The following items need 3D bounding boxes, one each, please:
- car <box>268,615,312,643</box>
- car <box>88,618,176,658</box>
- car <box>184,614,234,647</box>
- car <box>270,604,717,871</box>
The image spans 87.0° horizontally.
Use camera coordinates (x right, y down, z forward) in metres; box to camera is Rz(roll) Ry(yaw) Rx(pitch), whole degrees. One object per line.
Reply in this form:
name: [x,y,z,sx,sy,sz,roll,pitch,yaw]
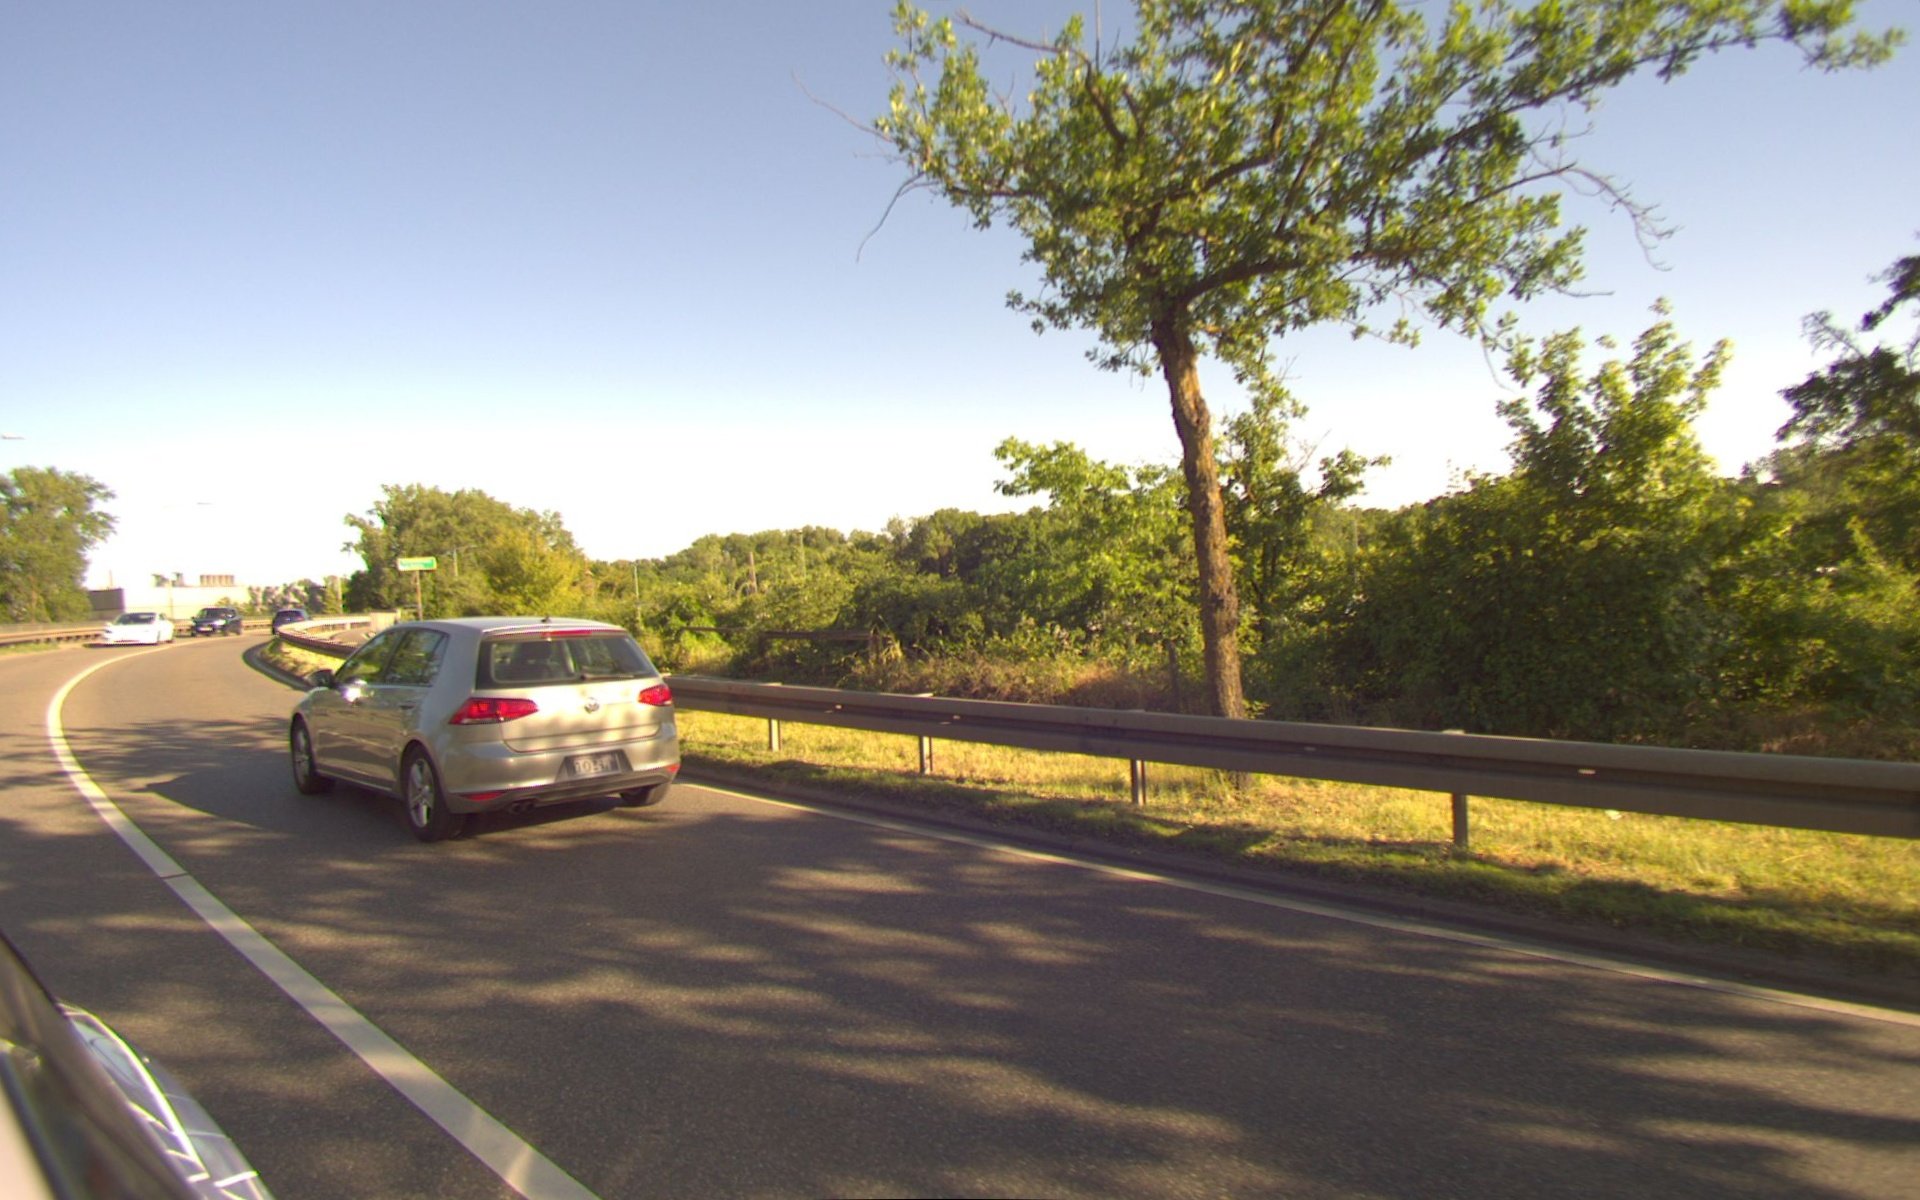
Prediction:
car: [-38.576,1.625,58.343,1.655,1.462,4.013,-1,0,-27]
car: [-35.547,1.597,43.572,2.114,1.579,4.211,0,-1,-28]
car: [-41.902,1.652,56.540,1.655,1.717,3.617,-1,0,-27]
car: [-3.735,0.828,7.777,3.980,1.530,1.677,-1,-1,42]
